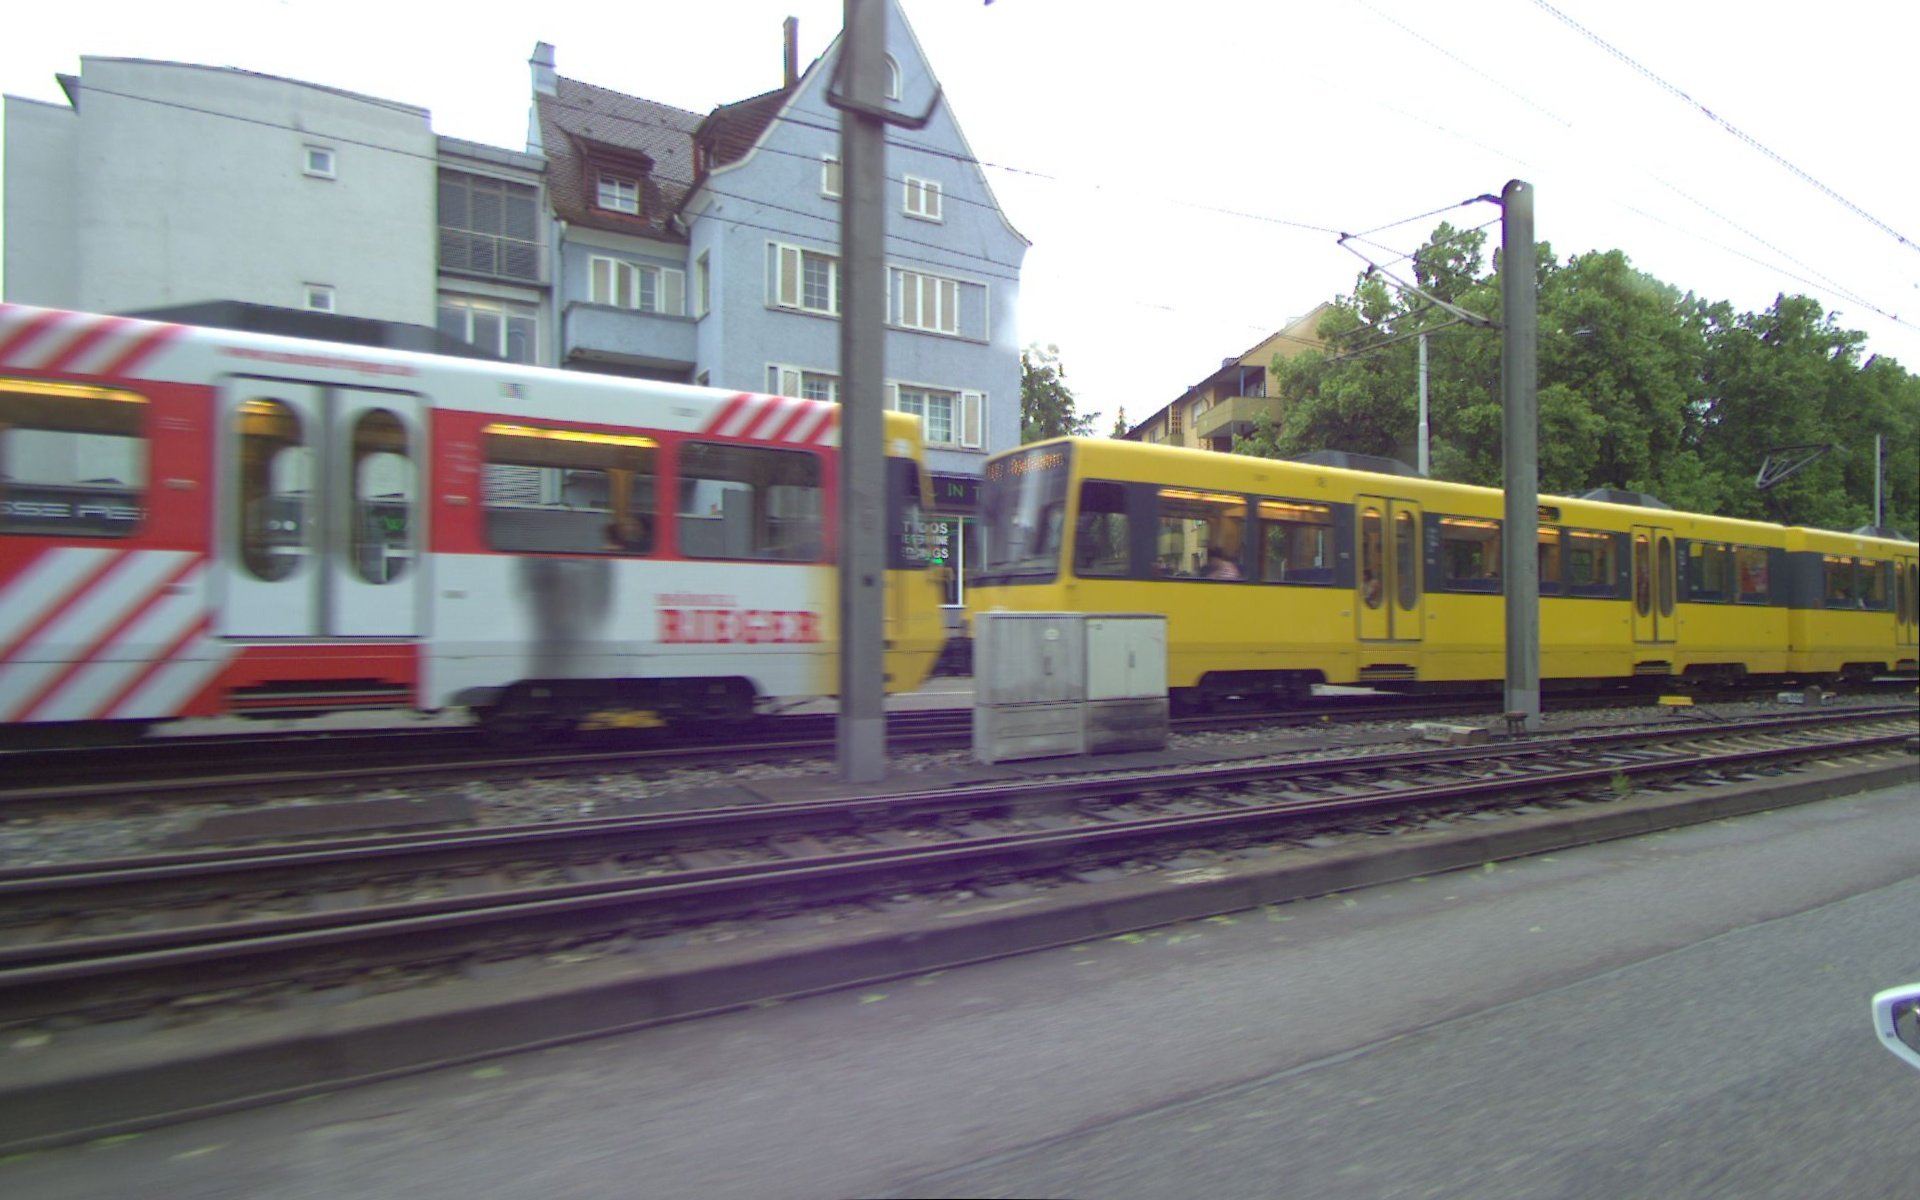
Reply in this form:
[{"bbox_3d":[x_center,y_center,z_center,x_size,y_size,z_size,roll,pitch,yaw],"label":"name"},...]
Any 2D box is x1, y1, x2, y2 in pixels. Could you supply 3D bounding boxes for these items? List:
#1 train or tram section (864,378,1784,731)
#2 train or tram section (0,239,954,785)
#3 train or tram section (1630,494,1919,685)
[{"bbox_3d":[7.649,-0.356,16.901,18.865,3.861,2.954,1,0,-29],"label":"train or tram section"},{"bbox_3d":[-8.799,-0.643,7.667,18.387,3.861,2.954,1,0,-29],"label":"train or tram section"},{"bbox_3d":[24.349,-0.070,26.255,19.281,3.861,2.954,1,0,-29],"label":"train or tram section"}]
